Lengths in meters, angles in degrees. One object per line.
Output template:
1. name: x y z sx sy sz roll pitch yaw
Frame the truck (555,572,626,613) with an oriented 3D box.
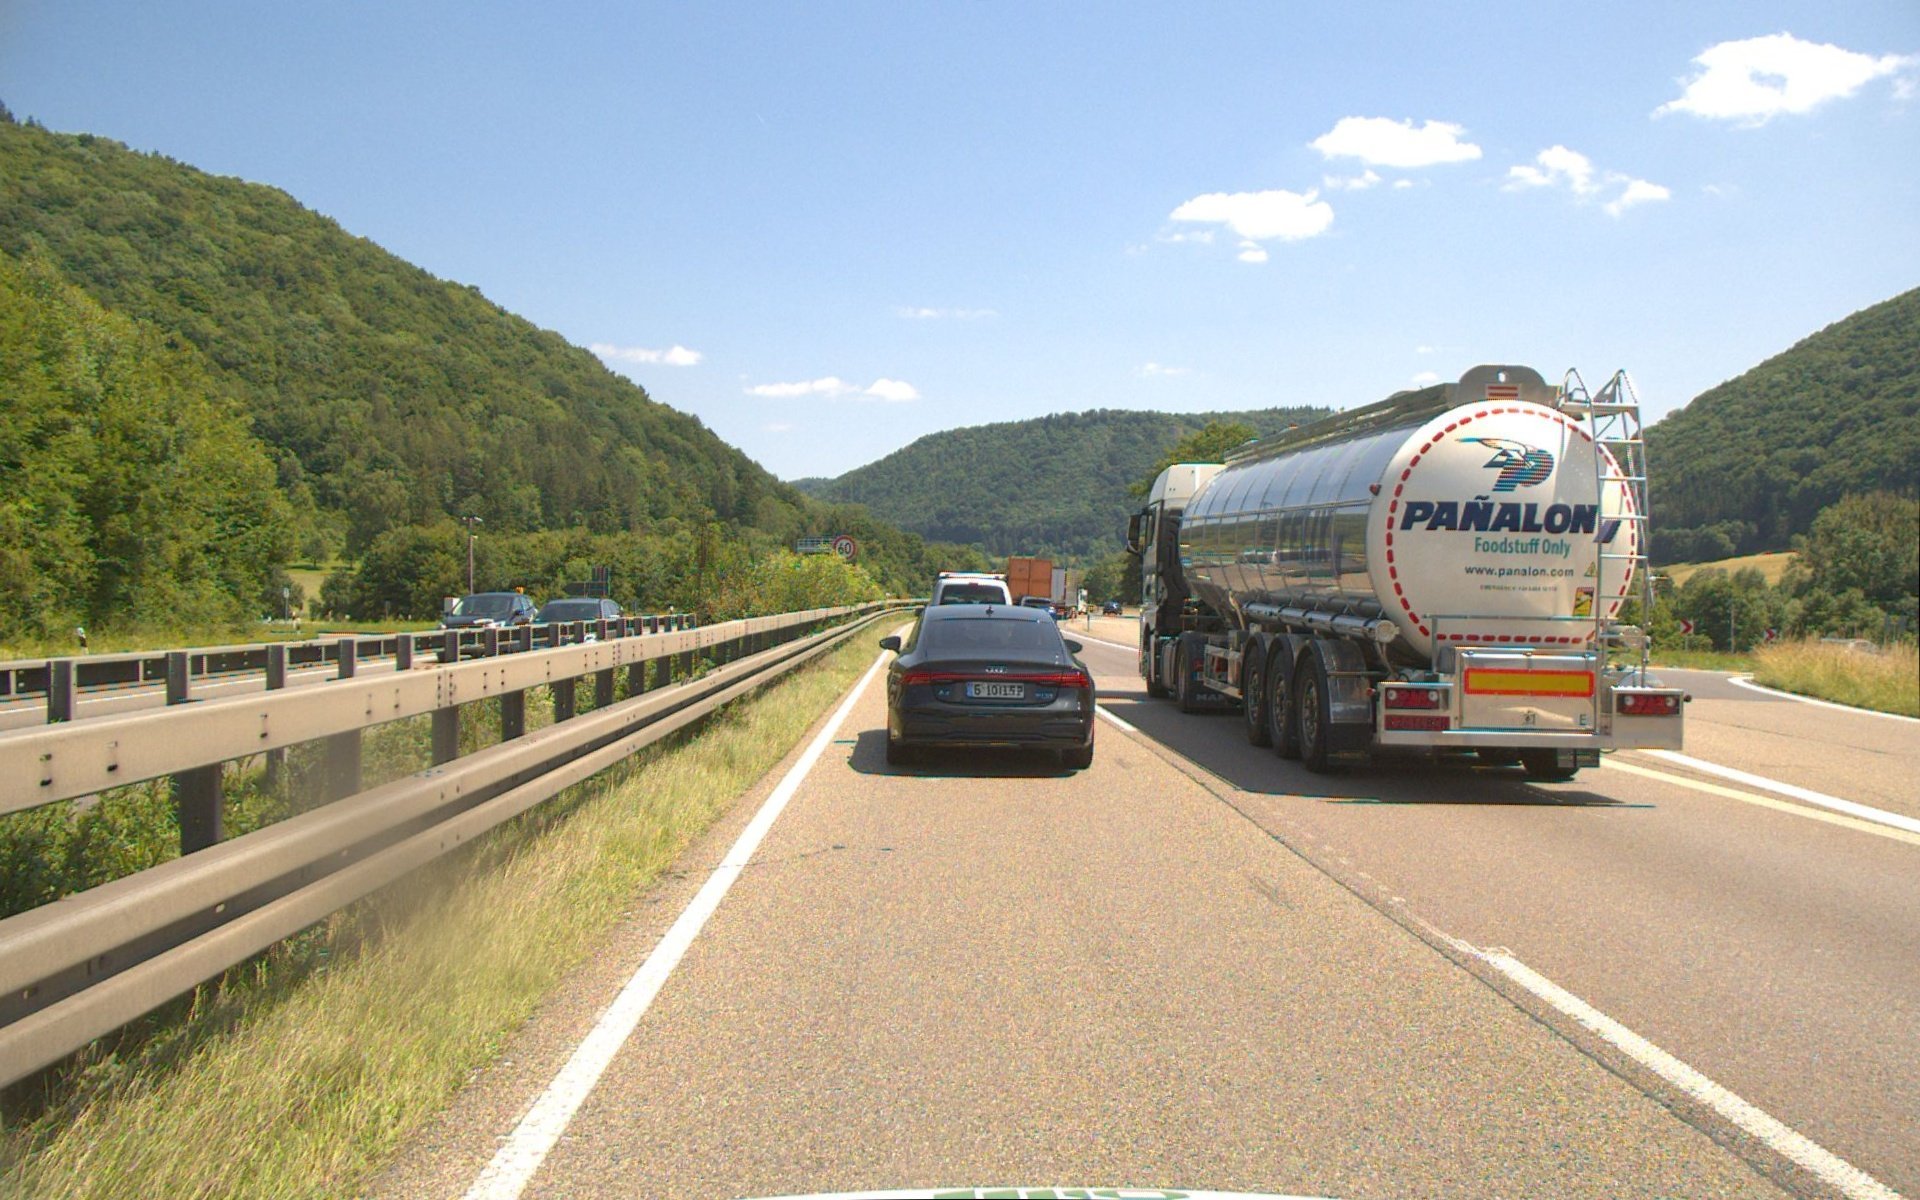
1. truck: -25.738 -0.521 115.730 3.510 2.742 8.442 0 0 -3

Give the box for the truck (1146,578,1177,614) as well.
1. truck: 26.582 -0.547 218.096 3.712 4.491 14.967 0 0 8

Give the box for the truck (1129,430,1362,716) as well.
1. truck: 4.117 -0.365 24.892 2.461 3.824 5.244 0 0 -2

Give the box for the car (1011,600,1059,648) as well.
1. car: 3.271 1.041 72.945 1.952 2.038 4.000 0 0 0

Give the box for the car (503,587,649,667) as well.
1. car: -7.798 0.519 34.014 1.953 1.545 4.677 0 0 -1

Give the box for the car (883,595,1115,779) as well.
1. car: 0.237 0.715 15.706 1.813 1.514 4.079 0 0 -4

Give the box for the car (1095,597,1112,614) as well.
1. car: 17.936 0.665 206.850 1.951 2.049 4.002 0 0 4

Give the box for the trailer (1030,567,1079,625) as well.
1. trailer: 7.445 -0.322 131.894 2.954 4.459 10.982 0 0 -1

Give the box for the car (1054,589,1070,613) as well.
1. car: 13.221 0.141 214.435 1.952 2.986 4.899 0 0 1

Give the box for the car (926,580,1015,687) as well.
1. car: 0.159 0.586 30.935 1.544 1.865 3.999 0 0 -1

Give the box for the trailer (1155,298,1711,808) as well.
1. trailer: 4.256 -0.362 18.357 2.487 3.801 11.888 0 0 -1

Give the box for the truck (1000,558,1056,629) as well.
1. truck: 4.073 -0.396 102.048 2.760 4.073 14.954 0 0 0

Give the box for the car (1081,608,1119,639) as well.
1. car: 7.323 1.221 86.794 1.711 1.557 4.000 0 0 1

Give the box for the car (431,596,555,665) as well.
1. car: -11.701 0.730 41.744 1.883 1.649 4.560 0 0 -1

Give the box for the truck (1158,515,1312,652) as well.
1. truck: 9.110 -0.501 56.830 2.760 4.073 14.954 0 0 0
